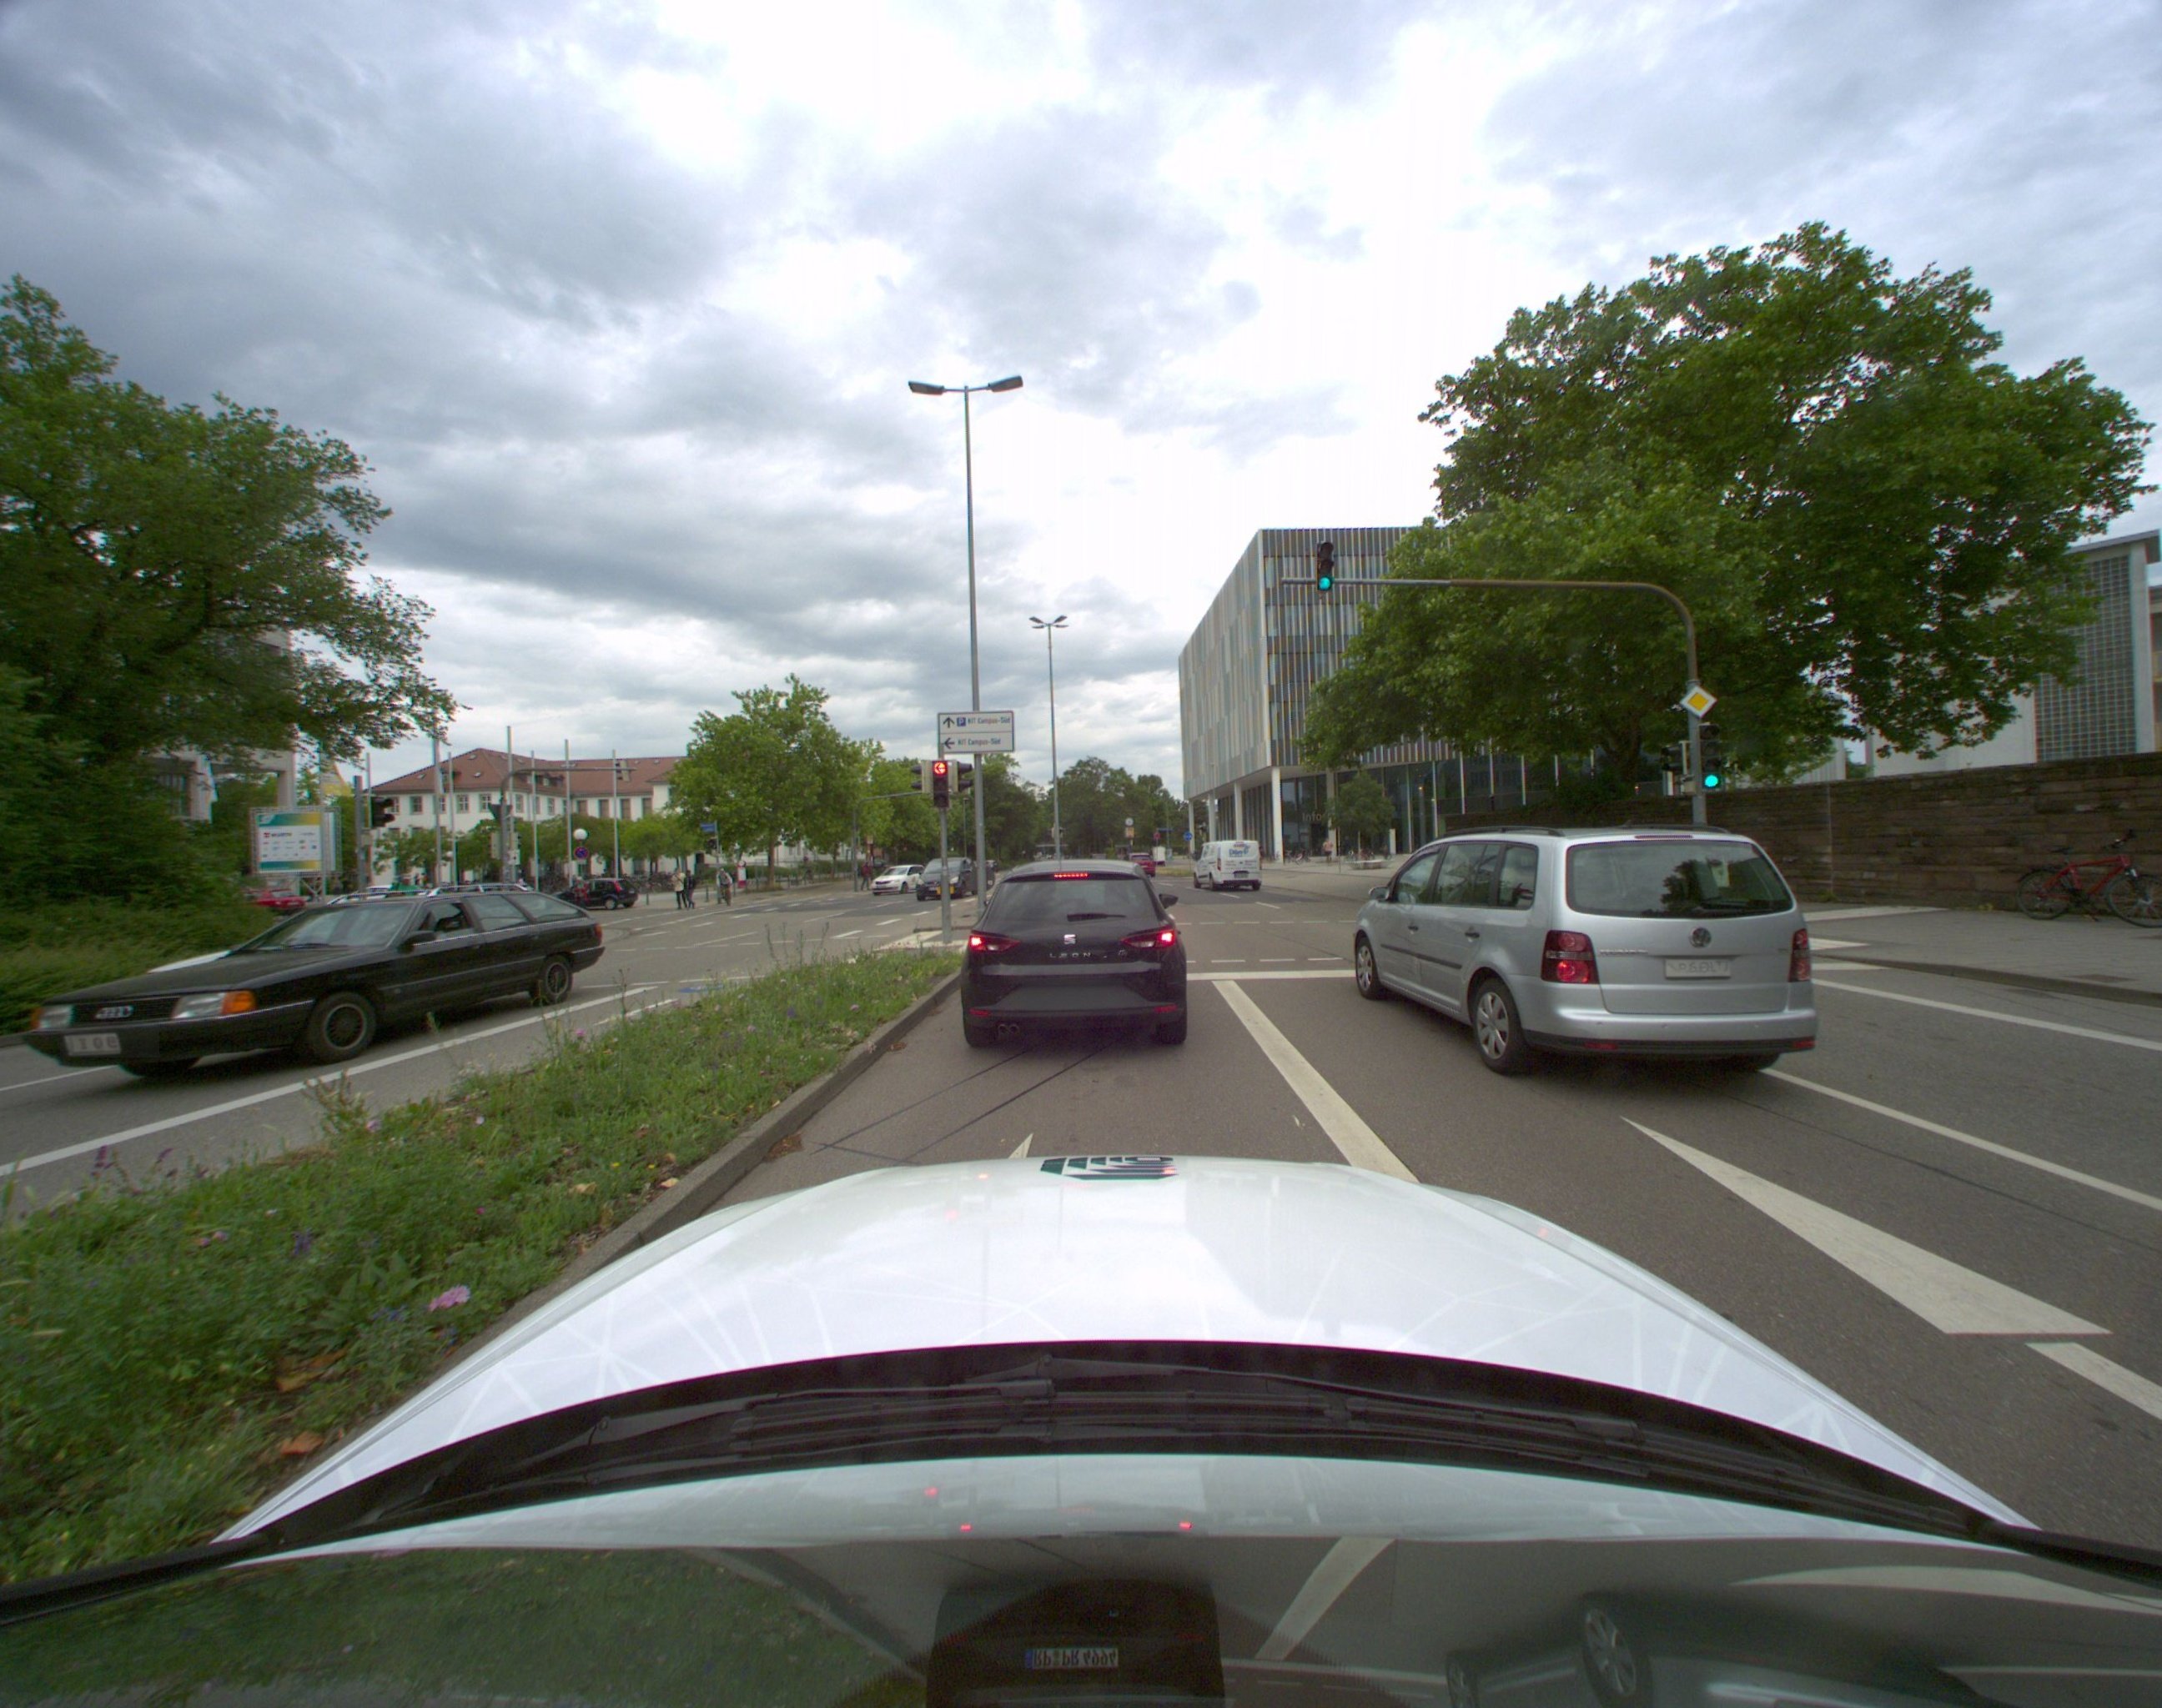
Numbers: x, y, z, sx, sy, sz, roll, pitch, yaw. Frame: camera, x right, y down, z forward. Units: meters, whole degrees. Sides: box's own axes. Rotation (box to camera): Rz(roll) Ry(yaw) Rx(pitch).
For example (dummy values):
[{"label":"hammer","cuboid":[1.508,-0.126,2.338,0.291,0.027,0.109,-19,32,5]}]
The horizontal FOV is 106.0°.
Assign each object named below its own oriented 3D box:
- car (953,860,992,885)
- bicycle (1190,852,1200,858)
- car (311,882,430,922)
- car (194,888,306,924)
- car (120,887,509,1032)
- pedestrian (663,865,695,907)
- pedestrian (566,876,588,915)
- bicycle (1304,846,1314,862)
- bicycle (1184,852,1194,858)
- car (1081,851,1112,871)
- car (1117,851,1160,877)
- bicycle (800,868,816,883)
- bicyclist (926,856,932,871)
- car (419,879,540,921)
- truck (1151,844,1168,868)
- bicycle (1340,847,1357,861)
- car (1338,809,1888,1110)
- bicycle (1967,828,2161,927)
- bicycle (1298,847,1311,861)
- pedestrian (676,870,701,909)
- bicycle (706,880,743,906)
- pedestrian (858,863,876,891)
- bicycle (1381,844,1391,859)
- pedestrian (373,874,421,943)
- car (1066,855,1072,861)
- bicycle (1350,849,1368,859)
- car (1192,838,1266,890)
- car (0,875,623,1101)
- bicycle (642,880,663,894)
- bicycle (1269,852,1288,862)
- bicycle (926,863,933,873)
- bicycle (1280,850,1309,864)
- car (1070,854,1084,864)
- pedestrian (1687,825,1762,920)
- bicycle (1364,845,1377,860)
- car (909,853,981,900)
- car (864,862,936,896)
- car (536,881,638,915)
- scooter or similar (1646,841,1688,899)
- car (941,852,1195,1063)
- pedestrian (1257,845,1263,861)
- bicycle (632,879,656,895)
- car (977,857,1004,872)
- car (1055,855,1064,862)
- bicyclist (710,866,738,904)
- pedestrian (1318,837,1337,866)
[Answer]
[{"label":"car","cuboid":[-7.261,1.224,54.822,1.706,1.418,4.299,-3,0,4]},{"label":"bicycle","cuboid":[15.282,0.101,108.907,1.239,0.823,0.479,0,-1,-21]},{"label":"car","cuboid":[-32.934,2.209,37.805,3.868,1.539,1.685,-2,2,-2]},{"label":"car","cuboid":[-38.019,2.360,37.321,3.341,1.479,1.559,-1,0,-5]},{"label":"car","cuboid":[-10.150,1.294,11.267,1.601,1.381,3.810,-4,0,2]},{"label":"pedestrian","cuboid":[-17.155,1.375,34.764,0.833,1.740,0.834,-5,-4,16]},{"label":"pedestrian","cuboid":[-20.573,1.699,33.256,0.572,1.526,0.842,-2,-5,-22]},{"label":"bicycle","cuboid":[18.557,-0.013,66.273,0.522,1.253,1.674,-3,0,20]},{"label":"bicycle","cuboid":[14.705,0.133,111.133,1.262,0.848,0.479,1,-1,-21]},{"label":"car","cuboid":[1.466,0.663,76.889,1.916,1.664,4.096,-4,0,-13]},{"label":"car","cuboid":[3.768,0.626,54.342,1.950,1.624,3.735,-1,1,-11]},{"label":"bicycle","cuboid":[-20.905,1.653,62.403,0.606,1.060,2.041,-4,0,-4]},{"label":"bicyclist","cuboid":[-16.373,1.057,87.966,0.489,1.624,0.589,-1,1,2]},{"label":"car","cuboid":[-27.460,2.091,37.314,4.058,1.452,1.615,-3,6,-16]},{"label":"truck","cuboid":[7.756,0.141,80.709,1.313,2.243,3.403,-4,0,2]},{"label":"bicycle","cuboid":[20.739,-0.007,63.128,0.688,0.946,1.997,-3,1,32]},{"label":"car","cuboid":[3.550,0.571,6.497,1.723,1.603,4.106,-1,0,0]},{"label":"bicycle","cuboid":[13.624,0.280,11.125,0.801,1.174,1.952,-5,0,-3]},{"label":"bicycle","cuboid":[18.948,0.004,69.058,0.614,1.045,1.716,-3,0,28]},{"label":"pedestrian","cuboid":[-16.092,1.475,33.402,0.791,1.558,0.695,-2,-3,-19]},{"label":"bicycle","cuboid":[-15.698,1.721,35.907,0.662,1.062,1.624,-1,-1,10]},{"label":"pedestrian","cuboid":[-12.810,1.358,48.679,0.873,1.586,0.542,-4,0,-5]},{"label":"bicycle","cuboid":[22.673,-0.180,60.447,0.616,1.056,1.959,-3,0,22]},{"label":"pedestrian","cuboid":[-18.092,1.422,21.548,0.948,1.759,0.865,0,-1,-42]},{"label":"car","cuboid":[-2.854,0.931,192.669,1.501,1.193,3.161,-4,0,-2]},{"label":"bicycle","cuboid":[21.323,0.011,62.456,1.535,0.716,0.513,-4,1,-42]},{"label":"car","cuboid":[5.980,0.361,33.479,1.963,1.972,4.337,0,0,-4]},{"label":"car","cuboid":[-7.068,1.055,8.403,1.757,1.460,4.794,-4,-1,2]},{"label":"bicycle","cuboid":[-30.743,2.384,58.436,1.211,0.880,0.262,-4,0,-22]},{"label":"bicycle","cuboid":[17.330,0.272,71.598,1.475,0.748,0.566,-4,0,-2]},{"label":"bicycle","cuboid":[-16.368,1.535,87.982,0.486,1.005,1.590,-1,1,2]},{"label":"bicycle","cuboid":[15.247,0.229,58.152,1.892,0.898,0.693,-4,0,-19]},{"label":"car","cuboid":[-0.656,0.790,124.698,1.894,1.354,3.880,-4,0,-2]},{"label":"pedestrian","cuboid":[11.197,0.316,14.194,0.657,1.561,0.636,-6,0,1]},{"label":"bicycle","cuboid":[21.799,-0.110,61.396,0.802,1.056,1.959,-3,0,21]},{"label":"car","cuboid":[-5.403,0.856,32.934,1.913,1.664,4.401,-4,0,2]},{"label":"car","cuboid":[-9.198,1.223,41.844,1.692,1.431,4.246,-3,0,16]},{"label":"car","cuboid":[-23.128,2.034,38.216,3.649,1.223,1.562,-2,7,-5]},{"label":"scooter or similar","cuboid":[13.174,0.334,18.339,0.428,1.179,1.714,-4,0,26]},{"label":"car","cuboid":[0.043,0.717,7.516,1.745,1.432,3.774,-1,0,4]},{"label":"pedestrian","cuboid":[15.532,-0.080,70.669,0.469,1.361,0.447,-3,0,12]},{"label":"bicycle","cuboid":[-30.944,2.318,57.667,1.405,1.052,0.585,-4,0,-19]},{"label":"car","cuboid":[-10.989,1.257,99.166,1.746,1.587,4.016,-3,0,15]},{"label":"car","cuboid":[-4.939,1.072,185.421,1.692,1.503,4.003,-4,0,-5]},{"label":"bicyclist","cuboid":[-15.709,1.338,35.858,0.662,1.635,0.964,-1,-1,10]},{"label":"pedestrian","cuboid":[15.489,-0.180,51.210,0.844,1.764,0.768,-4,0,1]}]
